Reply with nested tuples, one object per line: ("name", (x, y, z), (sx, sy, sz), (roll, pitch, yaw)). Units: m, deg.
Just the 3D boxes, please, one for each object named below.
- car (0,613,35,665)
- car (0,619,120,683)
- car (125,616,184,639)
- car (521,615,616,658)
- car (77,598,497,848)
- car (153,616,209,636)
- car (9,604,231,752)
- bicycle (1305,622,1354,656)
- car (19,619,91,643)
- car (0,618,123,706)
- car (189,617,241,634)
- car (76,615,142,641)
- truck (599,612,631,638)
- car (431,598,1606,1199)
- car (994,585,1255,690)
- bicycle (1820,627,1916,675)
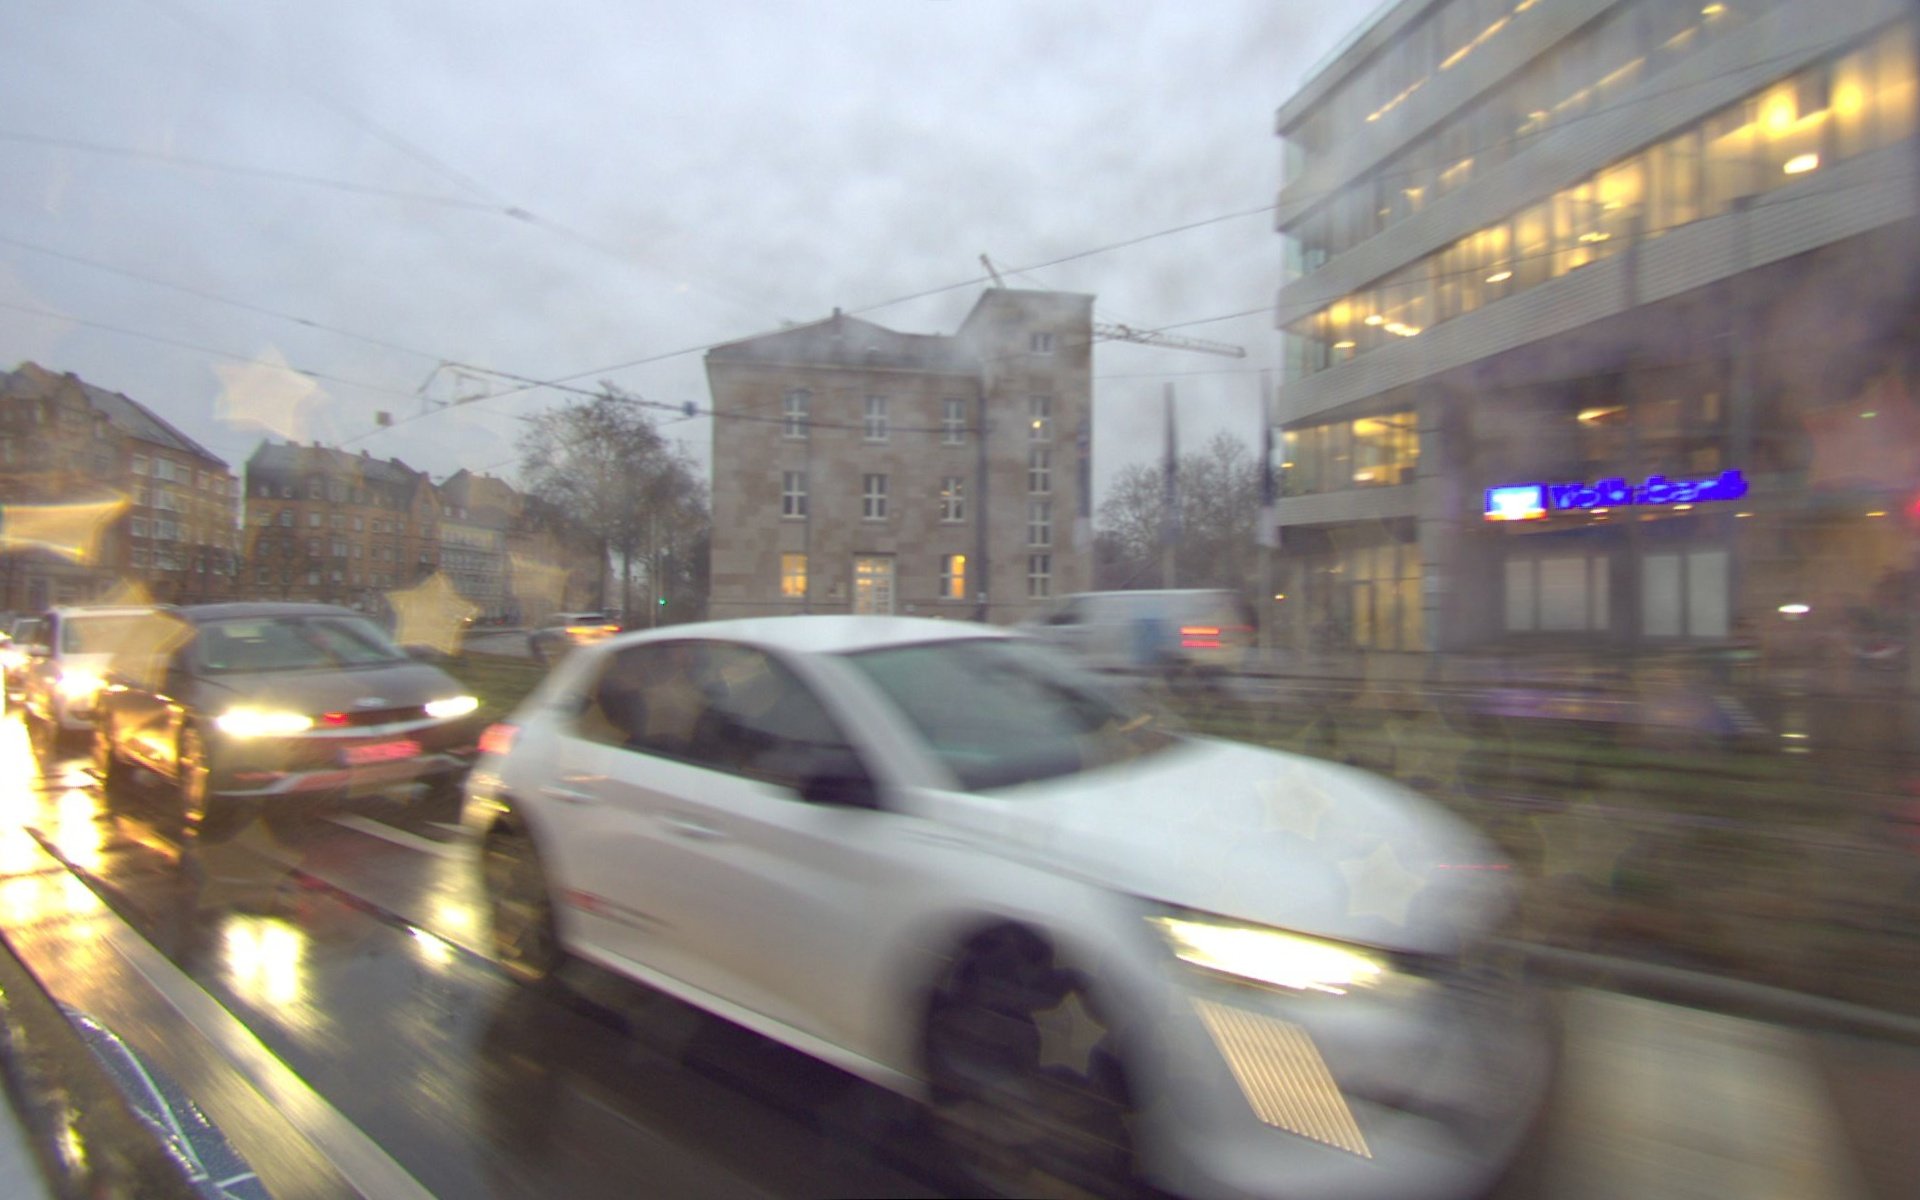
("car", (-33.536, 1.304, 34.774), (1.846, 1.701, 4.182), (0, -1, -32))
("car", (-22.870, 1.248, 25.676), (1.846, 1.486, 4.182), (0, -2, -32))
("car", (-57.406, 1.944, 72.159), (3.133, 1.636, 1.449), (1, -2, -34))
("car", (-13.534, 1.219, 34.841), (1.620, 1.397, 4.482), (1, -2, -41))
("car", (-5.812, 0.824, 8.522), (4.358, 1.582, 1.802), (-1, -2, 40))
("car", (-57.780, 1.918, 75.100), (3.133, 1.424, 1.385), (1, -2, -32))
("car", (-10.937, 0.894, 13.071), (4.222, 1.611, 1.653), (-1, -2, 43))
("bicycle", (12.358, 1.295, 33.855), (1.473, 1.136, 0.529), (0, -1, -9))
("car", (-56.264, 1.914, 62.971), (3.133, 1.440, 1.432), (1, -2, -34))
("car", (-16.541, 1.063, 18.485), (1.665, 1.441, 3.349), (1, -1, -44))
("car", (-58.208, 2.014, 79.113), (3.133, 1.293, 1.385), (1, -2, -32))
("car", (-56.045, 1.832, 66.702), (3.133, 1.636, 1.432), (1, -2, -34))
("truck", (-27.850, 2.026, 81.758), (1.809, 2.060, 4.008), (0, -1, -10))
("car", (-0.114, 0.767, 3.609), (3.913, 1.475, 1.741), (-1, -1, 39))
("car", (3.216, 0.726, 20.438), (4.957, 1.886, 1.880), (-1, -2, 39))
("bicycle", (20.959, 1.163, 23.375), (1.601, 1.078, 0.633), (-2, -3, 44))
